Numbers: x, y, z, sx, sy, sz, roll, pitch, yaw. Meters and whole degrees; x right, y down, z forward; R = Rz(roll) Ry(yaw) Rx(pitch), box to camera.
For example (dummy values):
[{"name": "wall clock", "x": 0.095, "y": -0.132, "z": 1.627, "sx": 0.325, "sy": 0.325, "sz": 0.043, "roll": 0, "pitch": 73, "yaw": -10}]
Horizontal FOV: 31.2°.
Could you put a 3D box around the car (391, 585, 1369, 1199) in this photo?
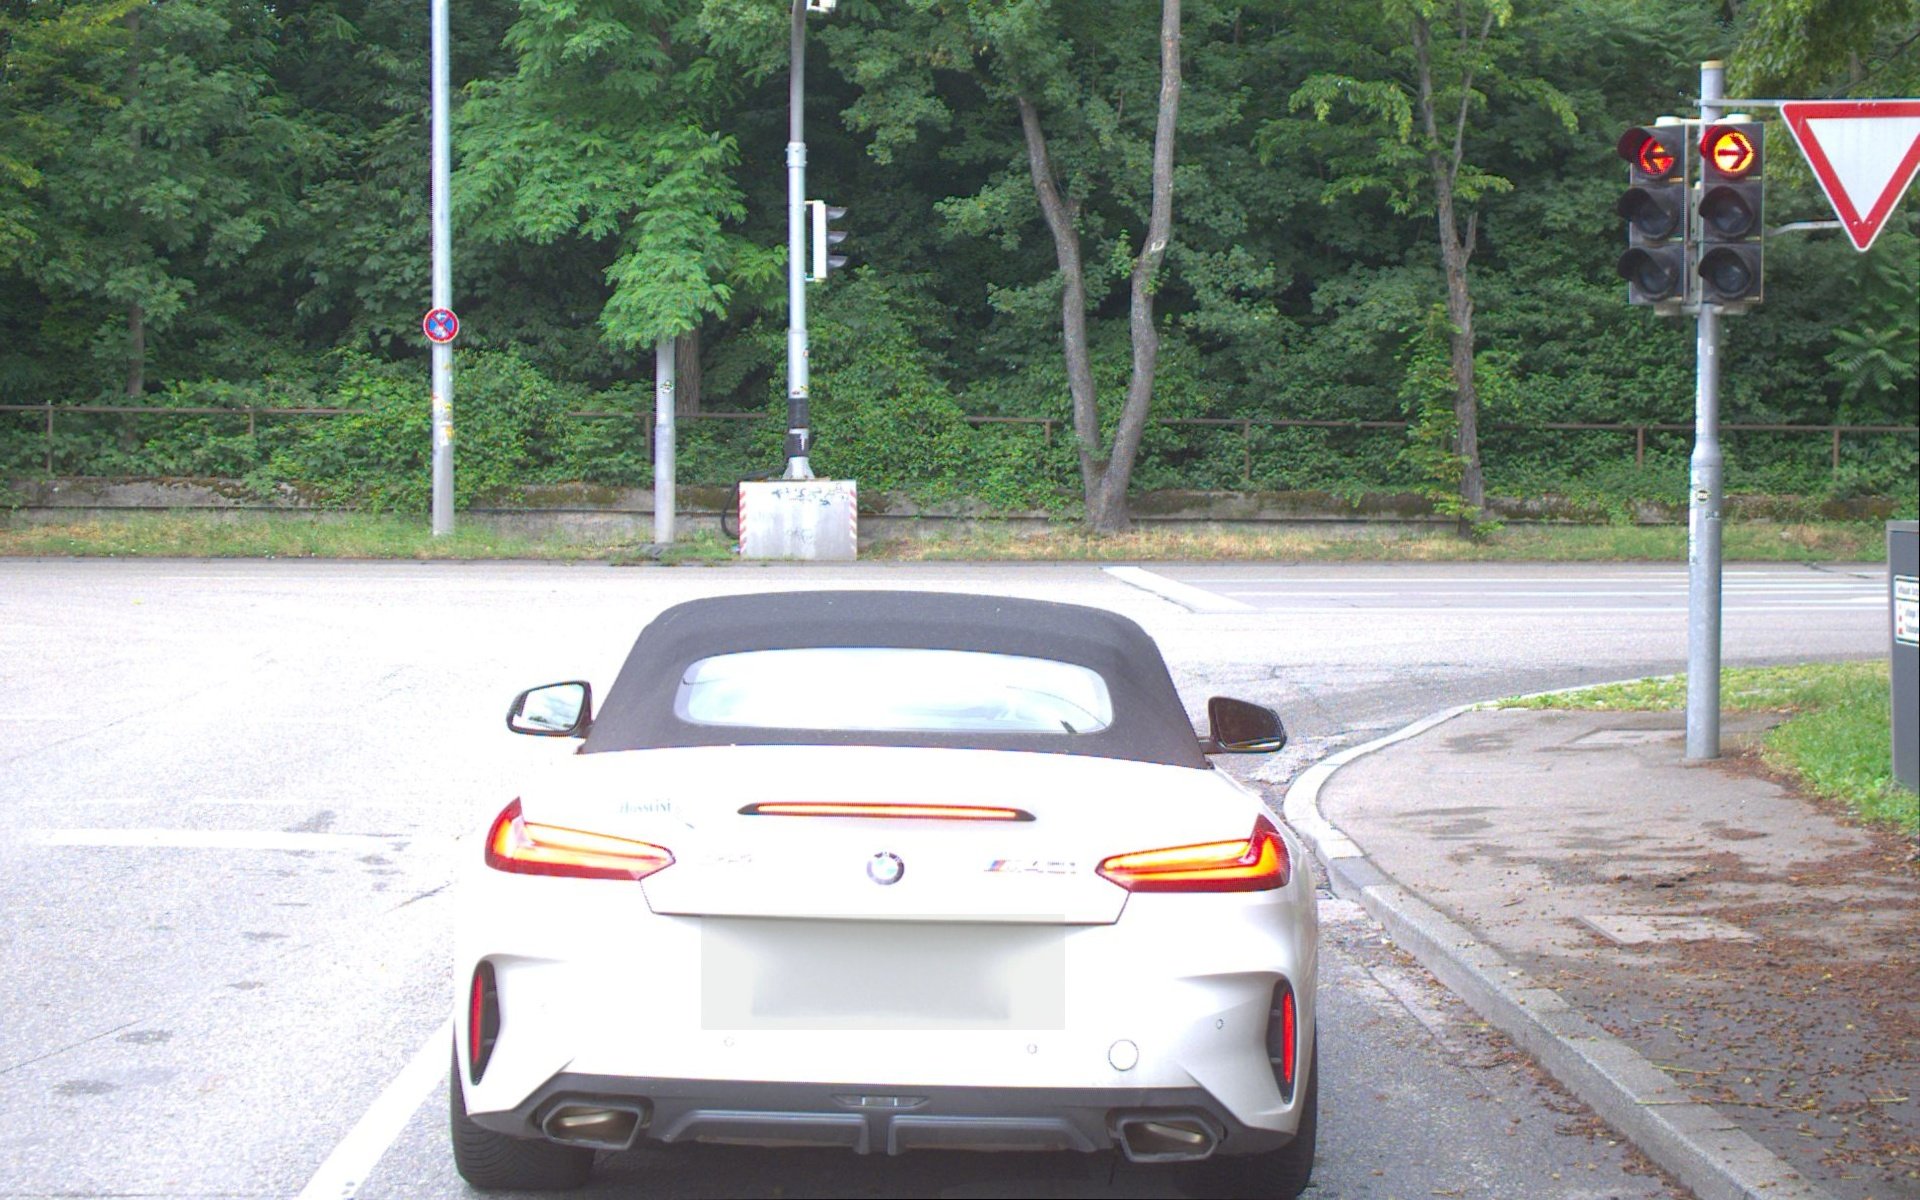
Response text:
[{"name": "car", "x": -0.243, "y": 0.624, "z": 8.532, "sx": 1.827, "sy": 1.253, "sz": 4.000, "roll": 2, "pitch": 0, "yaw": -3}]
